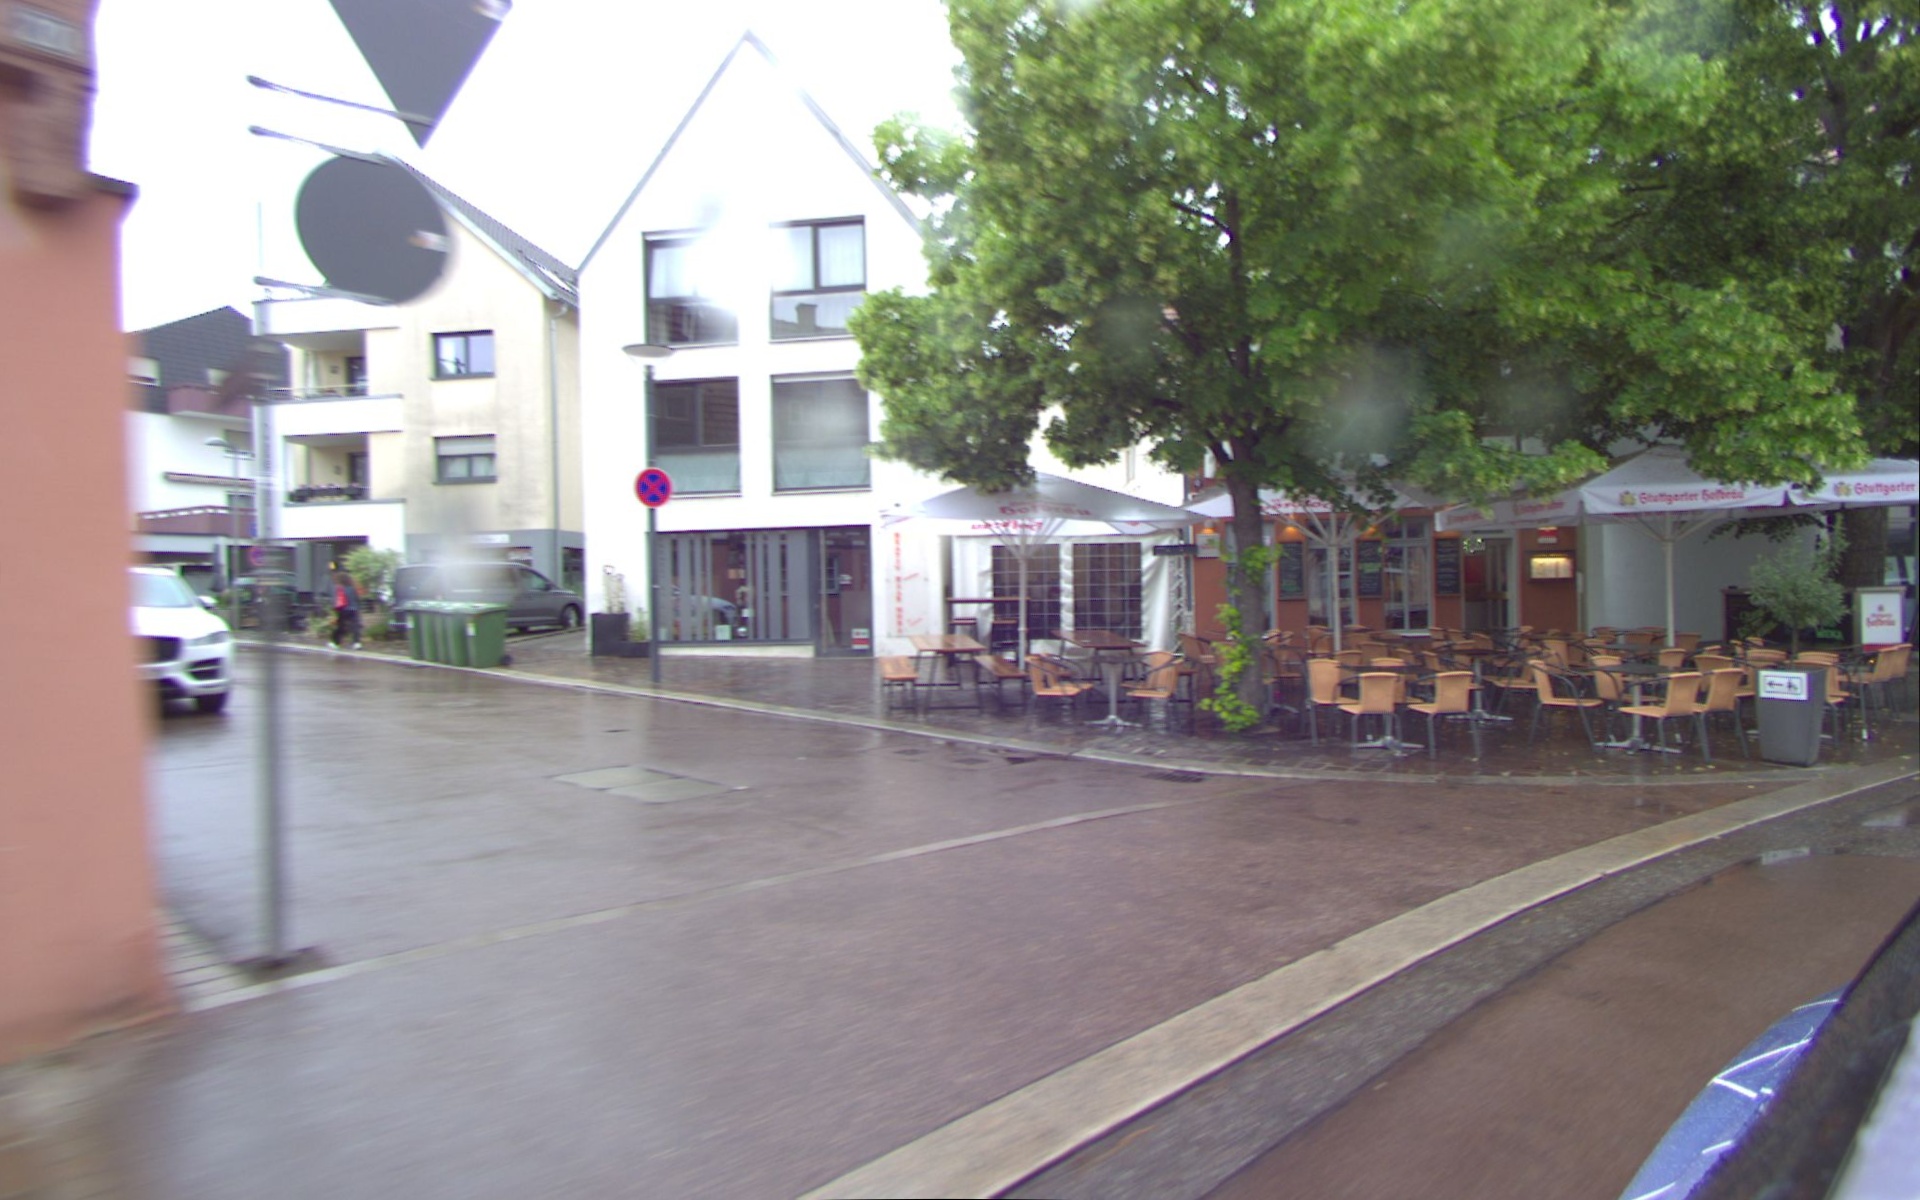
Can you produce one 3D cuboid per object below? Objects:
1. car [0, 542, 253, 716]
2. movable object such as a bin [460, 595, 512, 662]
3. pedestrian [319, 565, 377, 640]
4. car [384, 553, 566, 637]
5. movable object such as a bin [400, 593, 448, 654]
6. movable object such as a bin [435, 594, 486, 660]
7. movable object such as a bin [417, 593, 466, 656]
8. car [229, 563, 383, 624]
[{"bbox_3d":[-10.048,0.273,11.849,4.448,1.652,1.915,1,-1,42],"label":"car"},{"bbox_3d":[-8.215,0.473,17.537,0.654,1.107,0.597,0,2,43],"label":"movable object such as a bin"},{"bbox_3d":[-13.016,0.035,21.535,0.836,1.536,0.751,0,2,36],"label":"pedestrian"},{"bbox_3d":[-11.211,-0.187,23.658,1.607,1.793,3.705,0,2,22],"label":"car"},{"bbox_3d":[-10.108,0.432,19.074,0.654,1.107,0.597,0,2,43],"label":"movable object such as a bin"},{"bbox_3d":[-8.836,0.467,17.892,0.654,1.107,0.597,0,2,43],"label":"movable object such as a bin"},{"bbox_3d":[-9.516,0.442,18.582,0.654,1.107,0.597,0,2,43],"label":"movable object such as a bin"},{"bbox_3d":[-21.284,-0.266,32.982,3.932,1.793,1.996,-3,2,-42],"label":"car"}]
